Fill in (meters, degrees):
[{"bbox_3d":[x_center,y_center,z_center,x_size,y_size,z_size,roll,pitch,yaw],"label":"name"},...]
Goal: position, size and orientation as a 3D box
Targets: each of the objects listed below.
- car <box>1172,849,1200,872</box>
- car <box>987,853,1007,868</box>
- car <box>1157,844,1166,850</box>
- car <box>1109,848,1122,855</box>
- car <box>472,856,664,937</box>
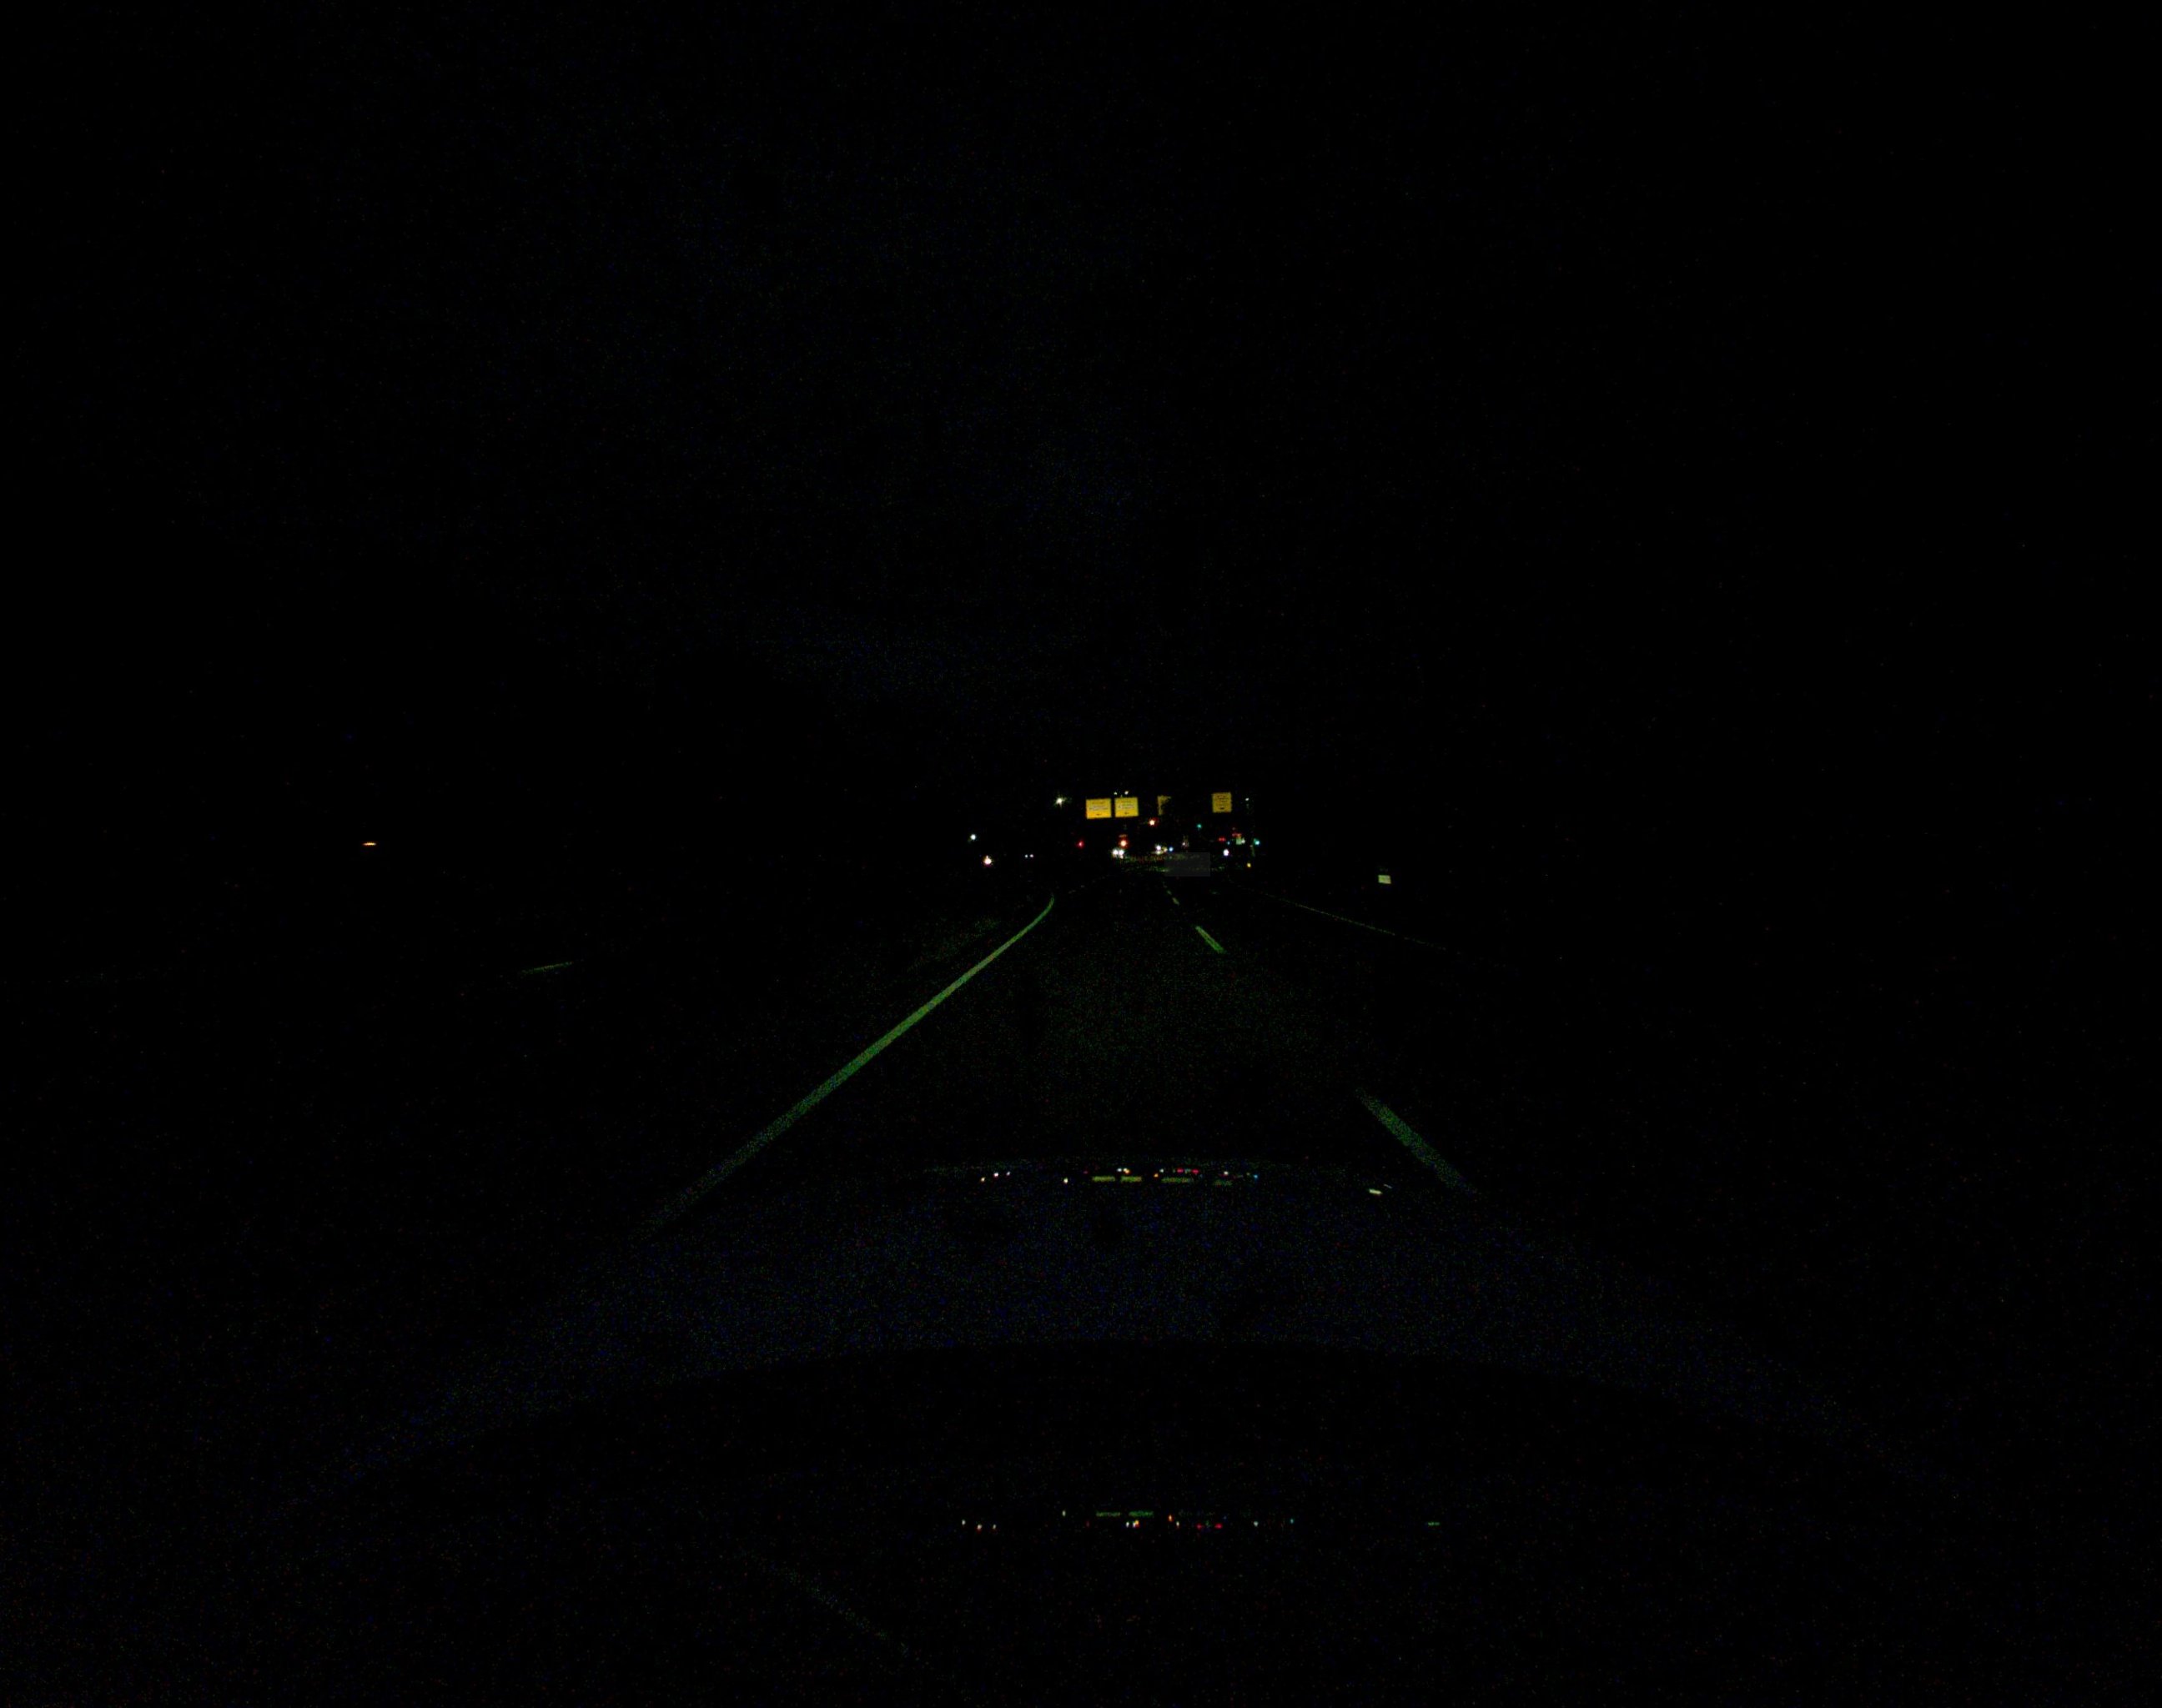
[{"bbox_3d":[7.958,0.473,61.878,1.998,1.611,3.851,-1,0,6],"label":"car"},{"bbox_3d":[-9.240,0.726,90.085,1.695,1.623,4.308,-1,0,1],"label":"car"},{"bbox_3d":[21.922,-1.984,220.991,1.980,1.481,4.697,-1,1,11],"label":"car"},{"bbox_3d":[7.621,-0.598,179.364,1.980,1.425,4.547,-1,1,11],"label":"car"},{"bbox_3d":[-12.417,0.936,20.155,1.765,1.641,4.659,-4,0,-1],"label":"car"}]
